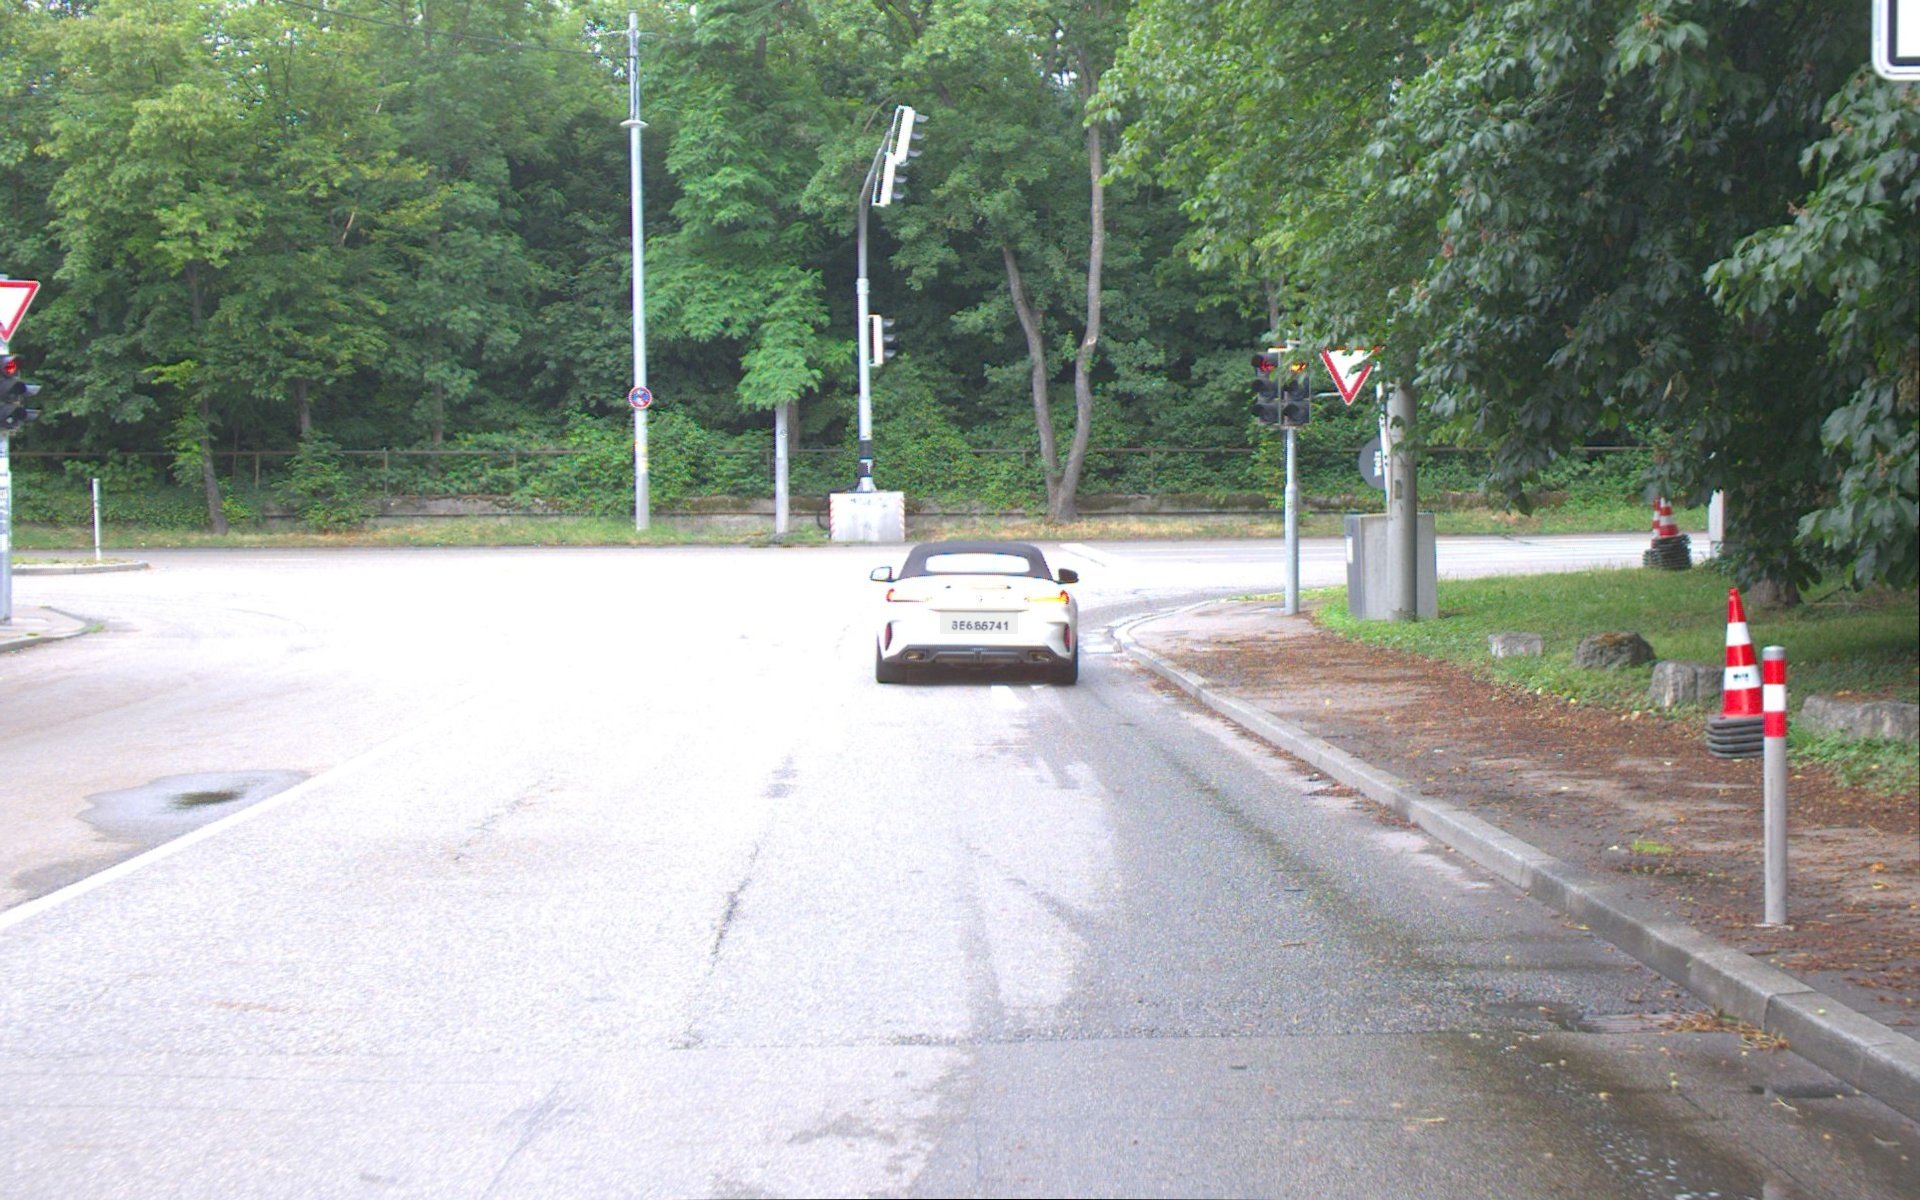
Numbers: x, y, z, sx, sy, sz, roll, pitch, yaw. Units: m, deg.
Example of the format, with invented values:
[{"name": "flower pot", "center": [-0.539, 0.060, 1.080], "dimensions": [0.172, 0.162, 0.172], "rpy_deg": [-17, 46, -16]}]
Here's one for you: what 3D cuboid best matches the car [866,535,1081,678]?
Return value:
[{"name": "car", "center": [0.068, 0.061, 32.844], "dimensions": [1.827, 1.253, 4.000], "rpy_deg": [1, 0, -3]}]
